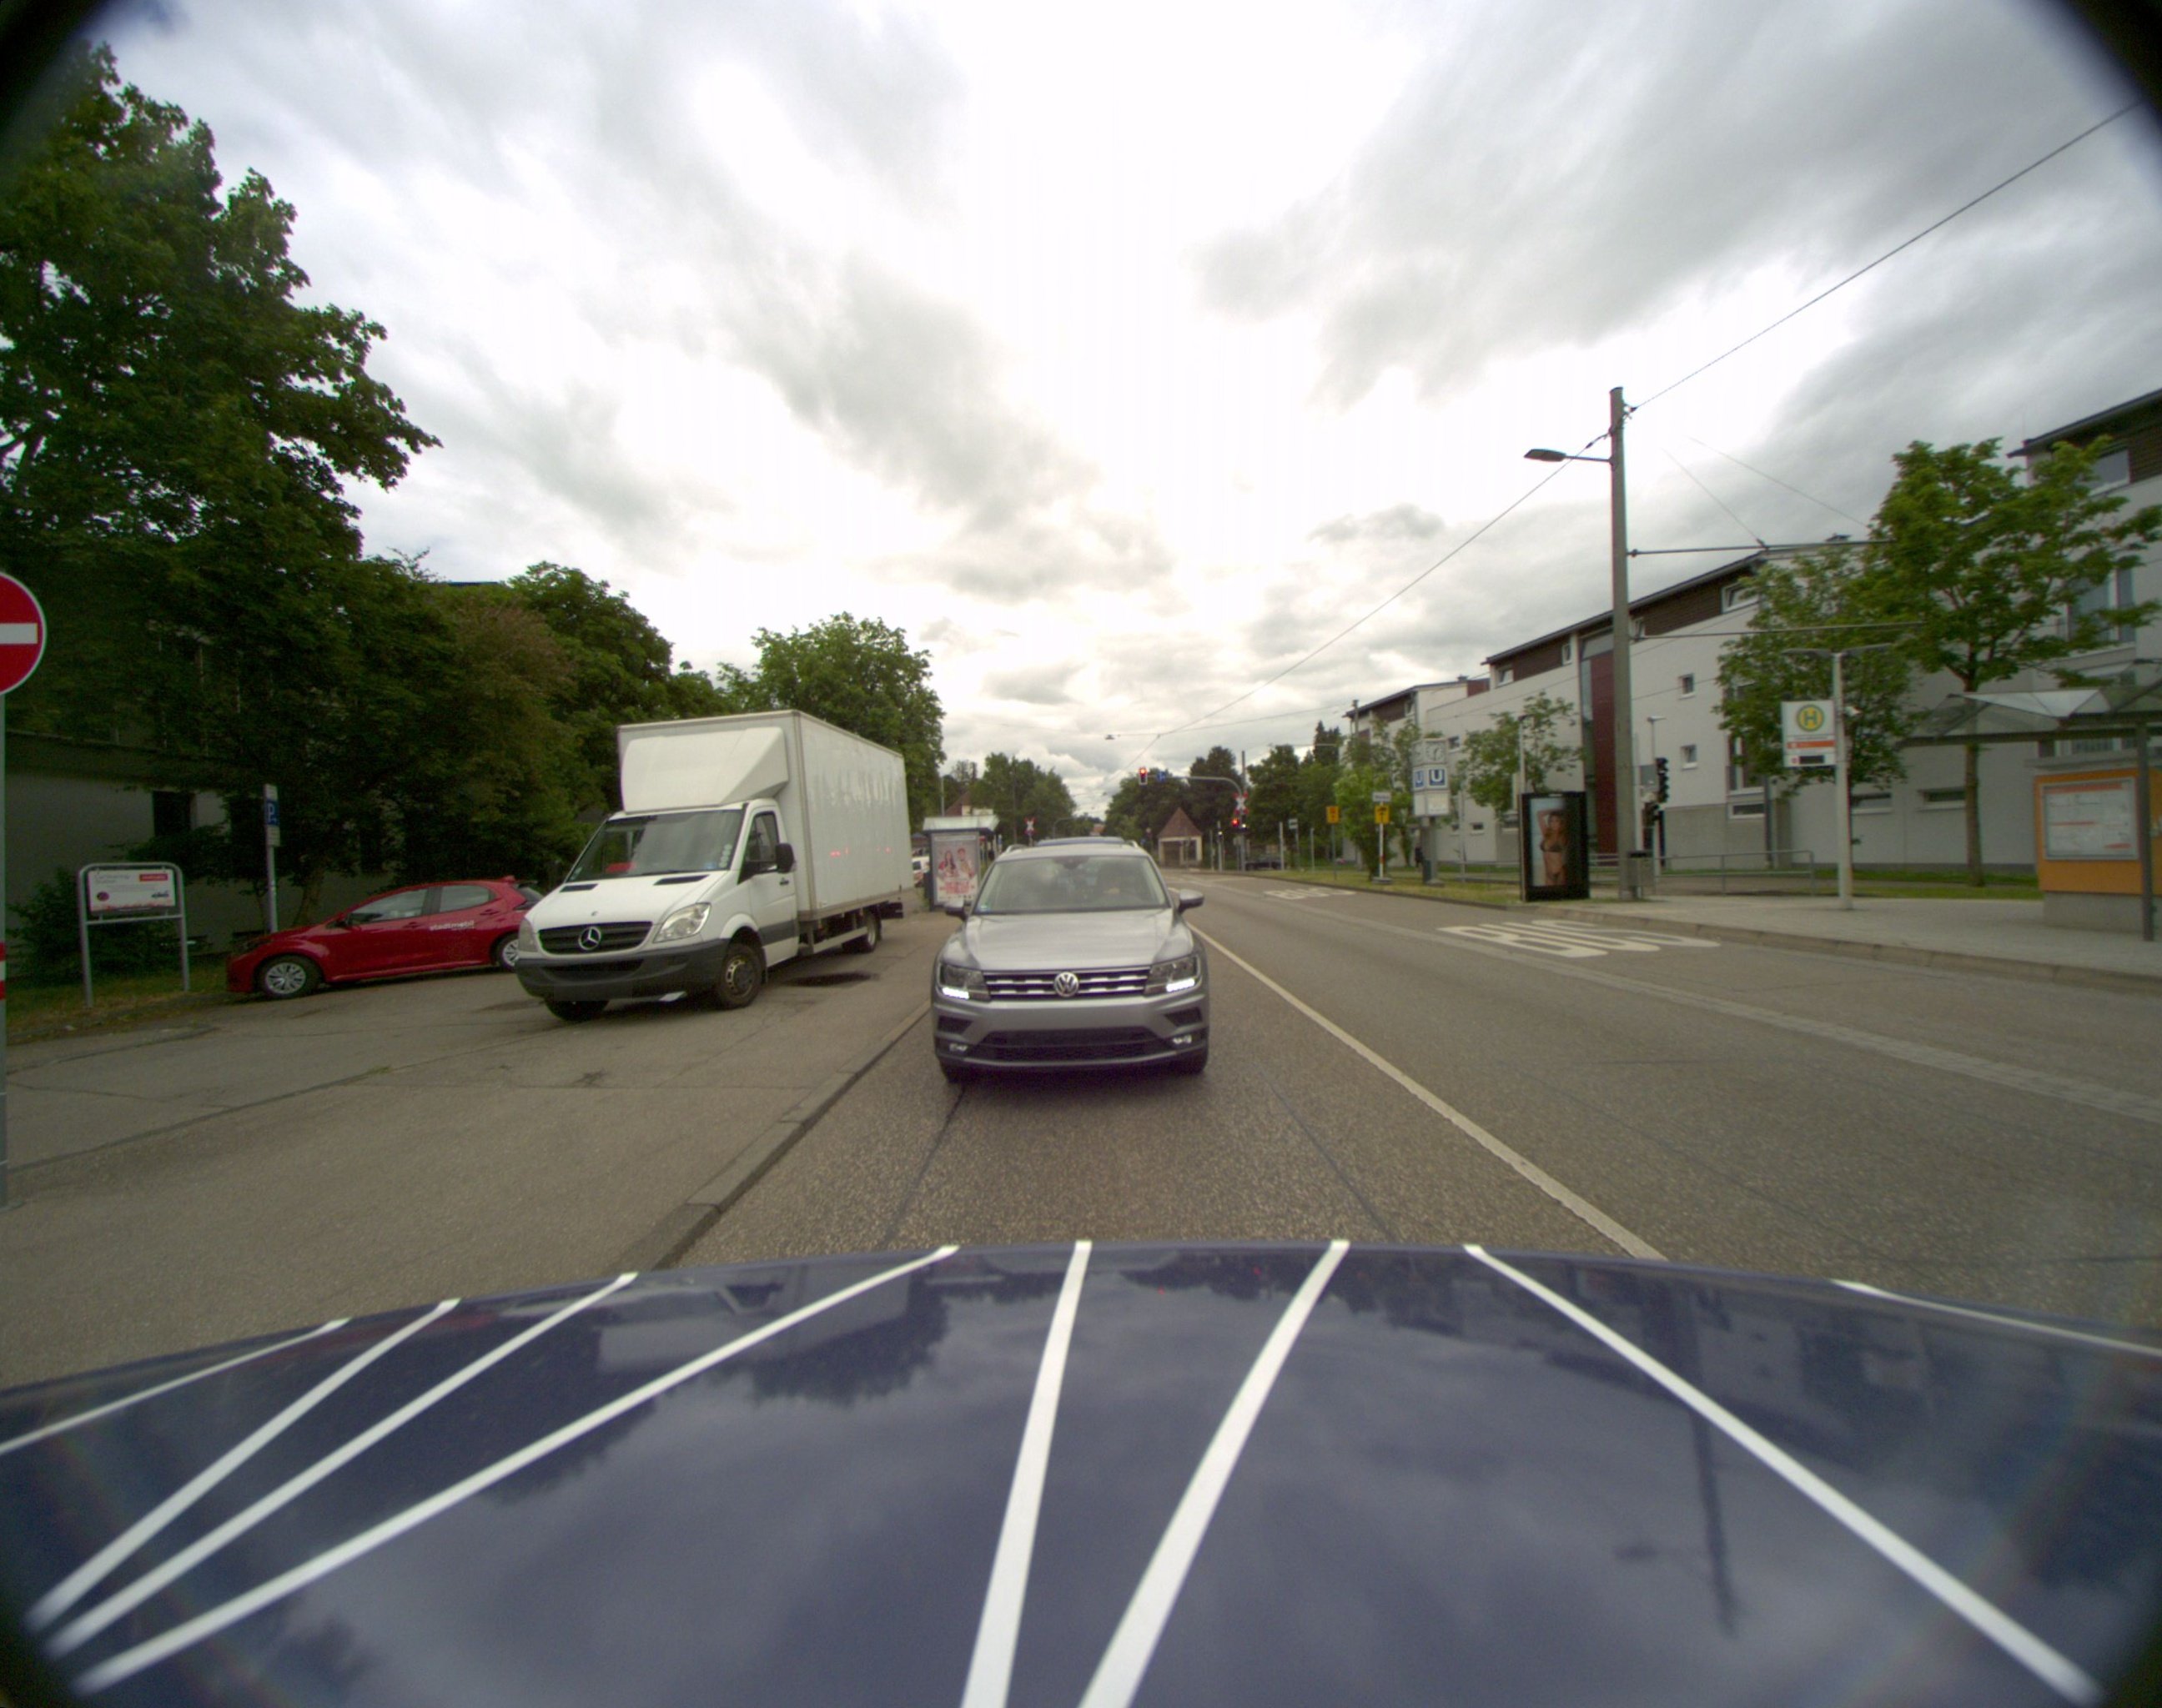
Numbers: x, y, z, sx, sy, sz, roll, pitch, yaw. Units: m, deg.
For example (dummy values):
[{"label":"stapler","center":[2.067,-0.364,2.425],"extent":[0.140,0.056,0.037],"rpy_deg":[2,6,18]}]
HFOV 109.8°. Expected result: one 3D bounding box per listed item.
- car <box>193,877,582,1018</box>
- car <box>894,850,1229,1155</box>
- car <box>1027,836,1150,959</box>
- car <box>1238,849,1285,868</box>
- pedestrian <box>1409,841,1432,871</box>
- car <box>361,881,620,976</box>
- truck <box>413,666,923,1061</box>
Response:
[{"label":"car","center":[-10.055,1.266,11.465],"extent":[3.902,1.475,1.680],"rpy_deg":[-5,2,-24]},{"label":"car","center":[-0.078,0.827,6.423],"extent":[1.811,1.638,4.330],"rpy_deg":[-2,0,1]},{"label":"car","center":[0.138,0.665,13.852],"extent":[1.849,1.850,4.000],"rpy_deg":[-2,0,1]},{"label":"car","center":[17.487,0.431,73.852],"extent":[3.998,1.696,1.928],"rpy_deg":[-2,1,-3]},{"label":"pedestrian","center":[18.061,0.109,40.387],"extent":[0.782,1.586,0.780],"rpy_deg":[-2,1,-8]},{"label":"car","center":[-11.975,1.441,15.787],"extent":[4.005,1.402,1.521],"rpy_deg":[-5,2,-31]},{"label":"truck","center":[-4.468,0.040,10.633],"extent":[2.541,3.407,7.775],"rpy_deg":[-2,1,2]}]
